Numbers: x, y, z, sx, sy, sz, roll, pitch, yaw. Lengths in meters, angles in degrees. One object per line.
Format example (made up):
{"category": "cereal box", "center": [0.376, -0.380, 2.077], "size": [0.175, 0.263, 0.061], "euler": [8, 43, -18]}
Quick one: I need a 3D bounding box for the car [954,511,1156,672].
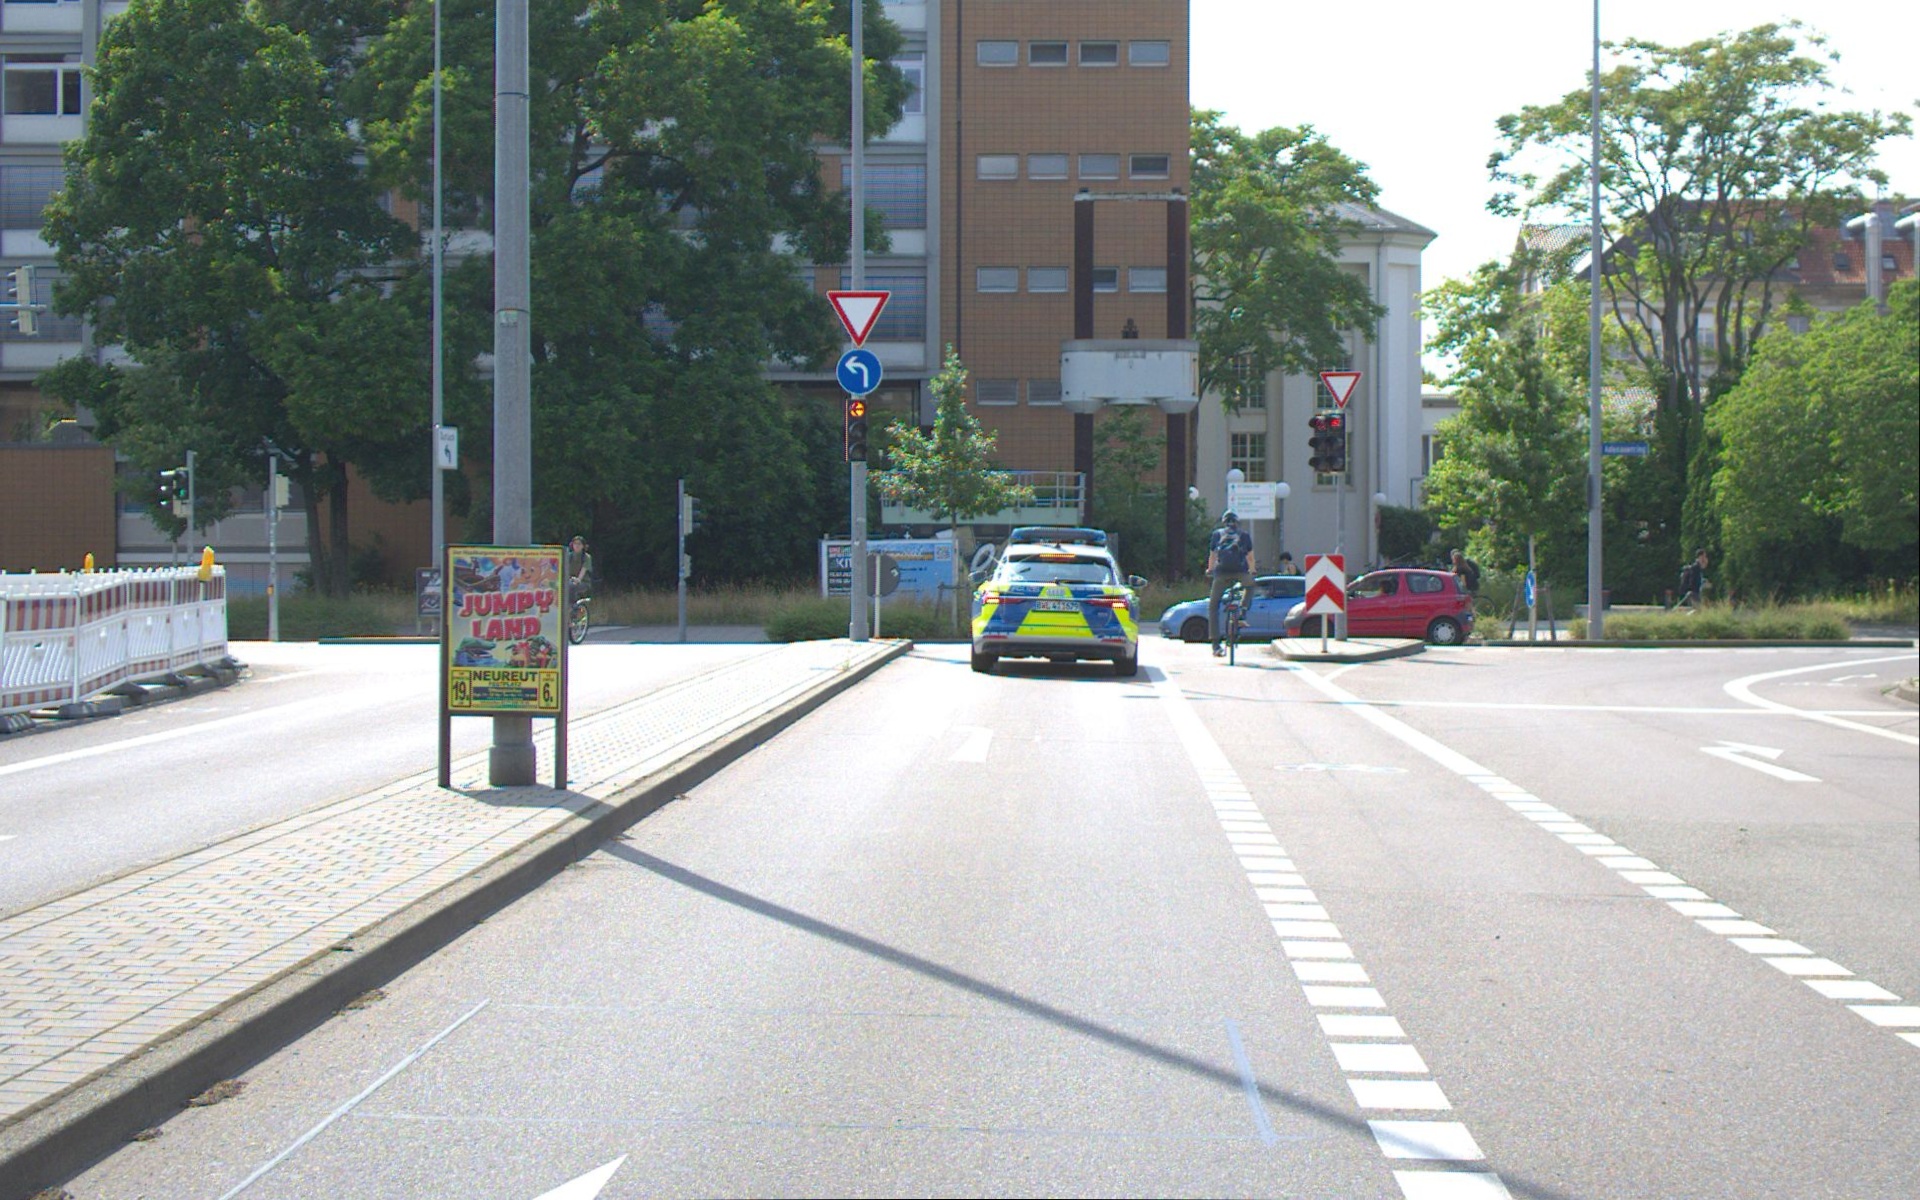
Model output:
{"category": "car", "center": [1.080, -0.126, 39.159], "size": [2.130, 1.678, 4.102], "euler": [2, 1, 2]}

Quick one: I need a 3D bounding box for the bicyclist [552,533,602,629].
{"category": "bicyclist", "center": [-5.894, -0.300, 52.977], "size": [0.634, 1.465, 0.839], "euler": [0, 2, 3]}

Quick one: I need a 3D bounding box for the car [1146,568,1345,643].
{"category": "car", "center": [5.689, 0.097, 68.413], "size": [3.726, 1.451, 1.625], "euler": [0, 1, 14]}

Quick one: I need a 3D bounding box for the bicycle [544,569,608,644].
{"category": "bicycle", "center": [-5.898, 0.090, 52.927], "size": [0.634, 1.080, 2.190], "euler": [0, 2, 3]}

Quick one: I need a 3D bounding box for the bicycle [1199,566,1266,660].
{"category": "bicycle", "center": [3.370, 0.144, 42.685], "size": [0.721, 1.080, 2.191], "euler": [0, 2, 2]}

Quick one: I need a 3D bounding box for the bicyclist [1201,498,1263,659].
{"category": "bicyclist", "center": [3.370, -0.277, 42.665], "size": [0.718, 1.966, 0.839], "euler": [0, 2, 2]}

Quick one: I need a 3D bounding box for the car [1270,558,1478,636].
{"category": "car", "center": [7.844, -0.065, 65.082], "size": [3.726, 1.451, 1.625], "euler": [0, 1, 14]}

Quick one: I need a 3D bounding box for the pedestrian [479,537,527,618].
{"category": "pedestrian", "center": [-10.655, -0.534, 80.173], "size": [0.943, 1.876, 0.908], "euler": [0, 1, 5]}
